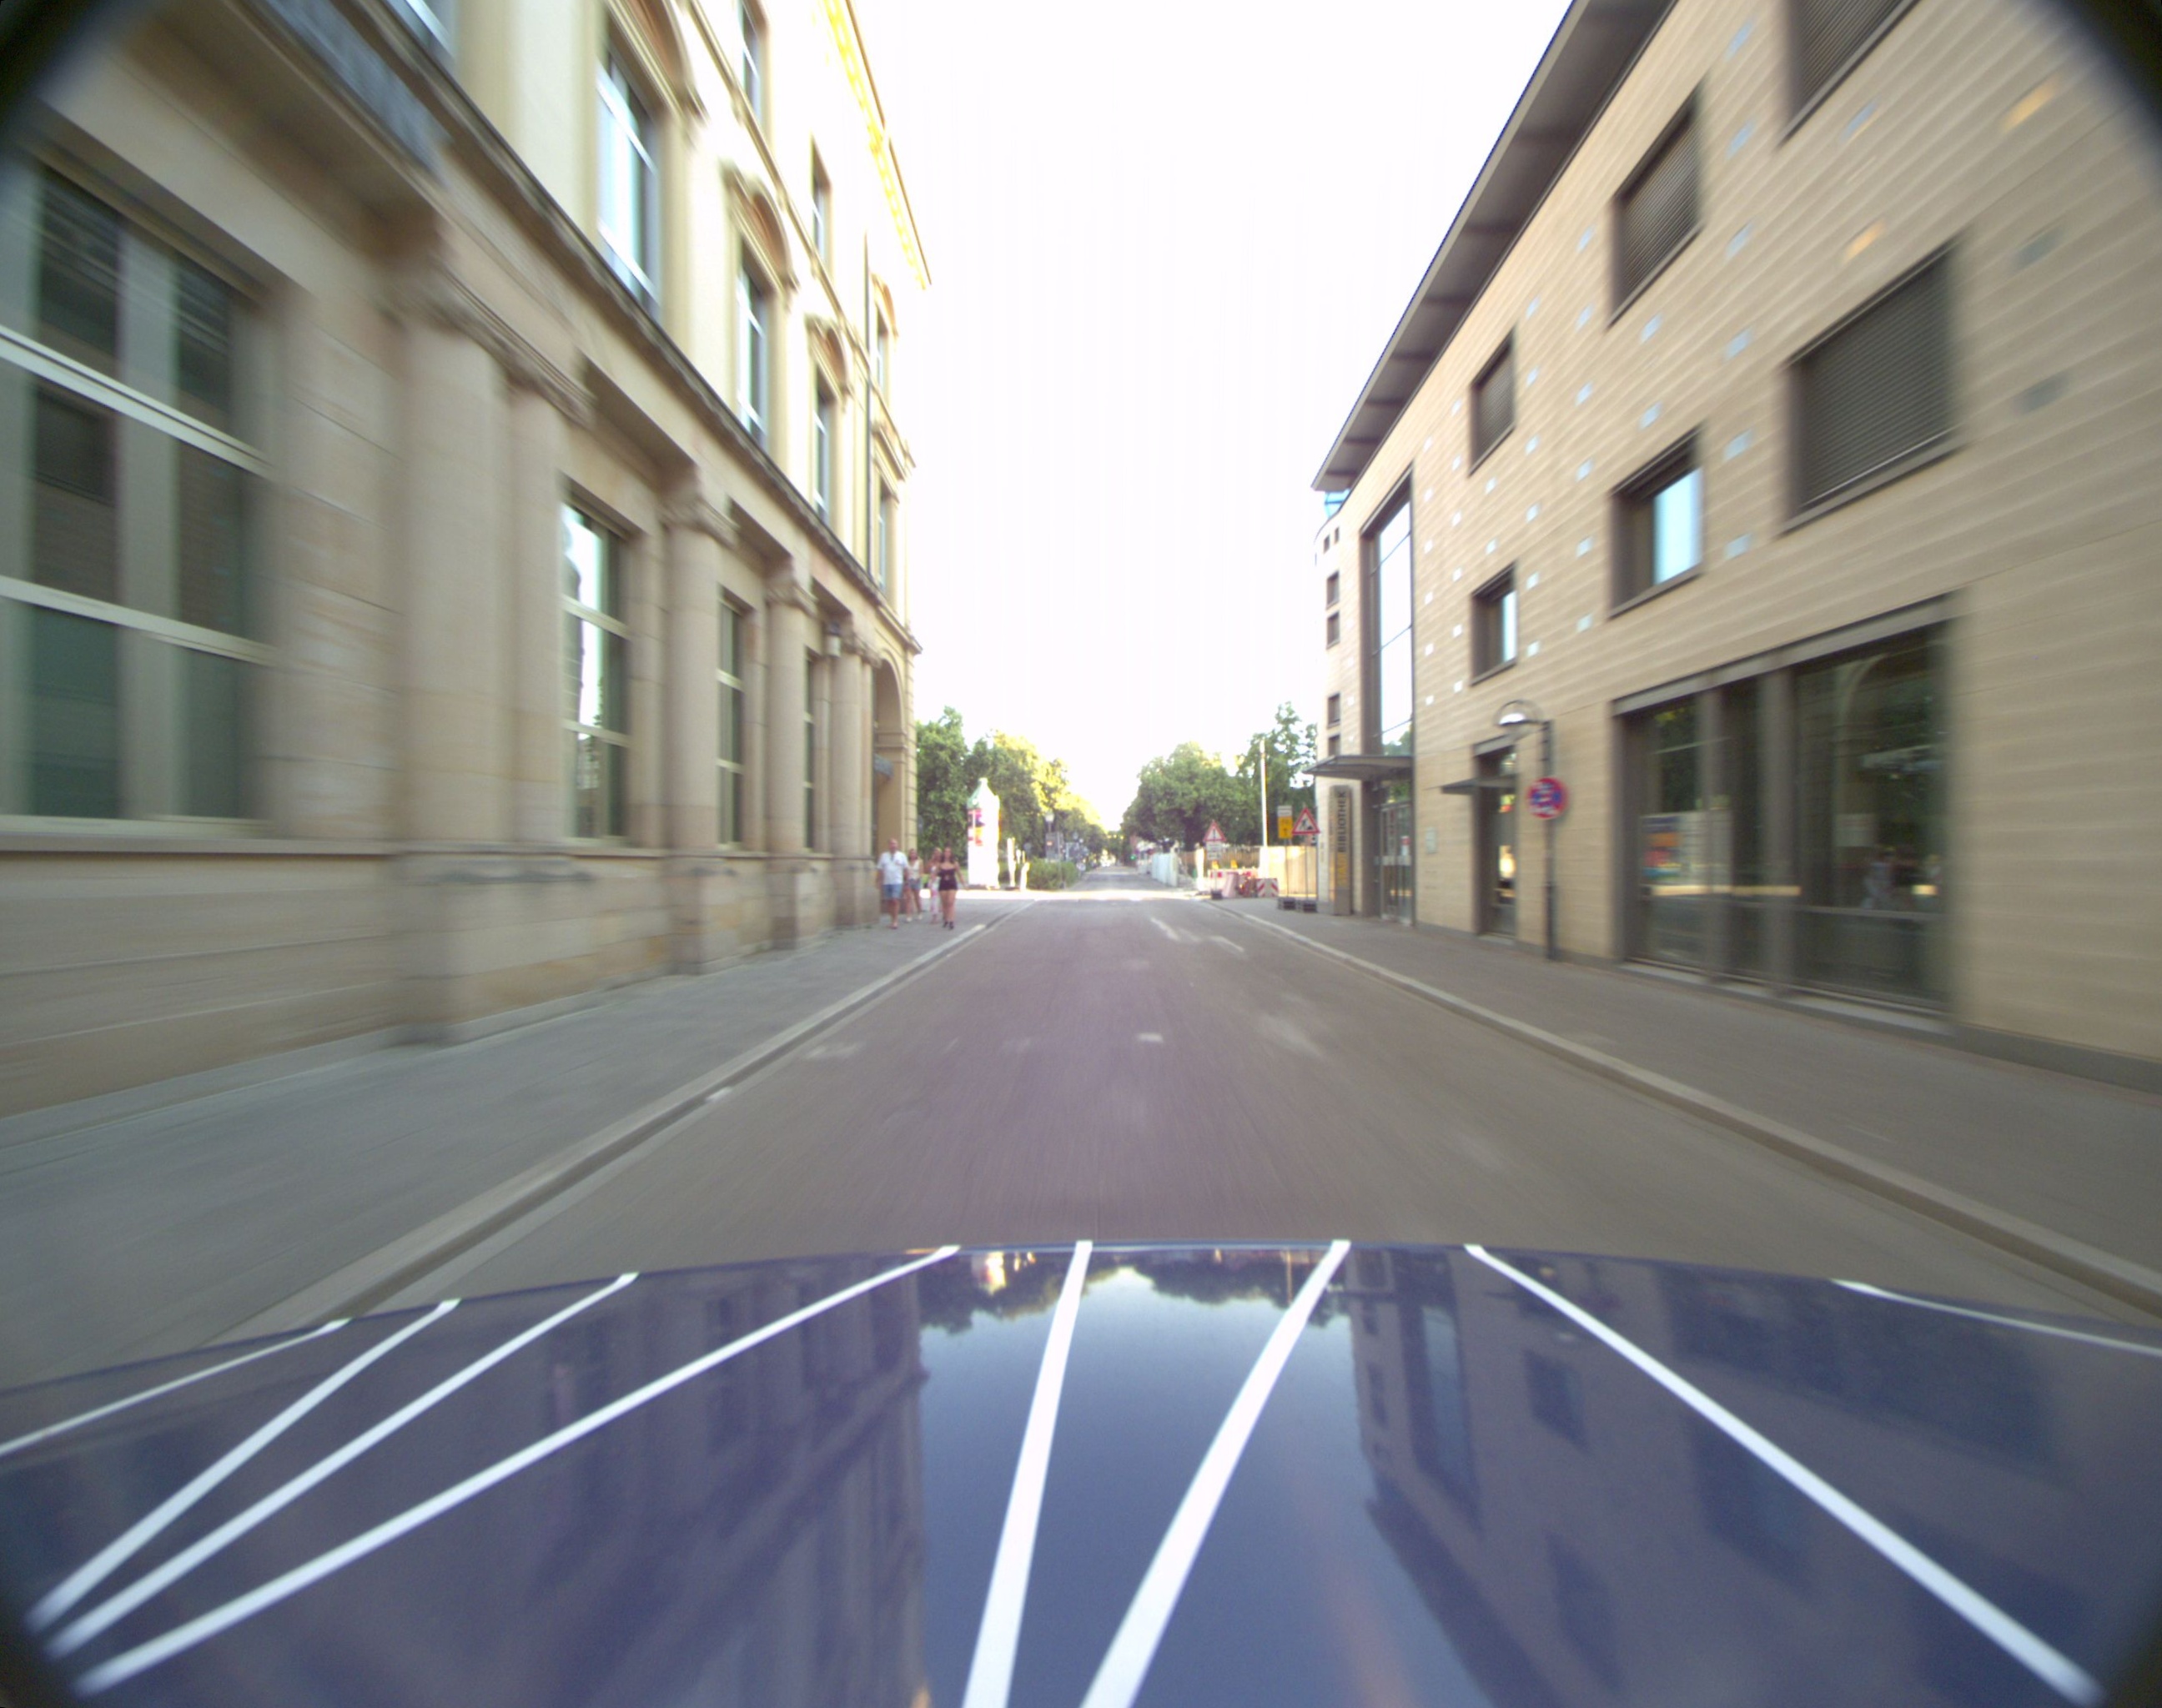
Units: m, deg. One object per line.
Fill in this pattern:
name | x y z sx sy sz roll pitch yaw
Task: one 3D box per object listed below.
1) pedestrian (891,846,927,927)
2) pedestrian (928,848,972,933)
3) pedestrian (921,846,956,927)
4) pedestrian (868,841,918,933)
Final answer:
pedestrian | -3.863 0.717 17.114 0.638 1.792 0.772 0 0 1
pedestrian | -2.752 0.748 16.030 0.777 1.736 0.875 0 0 1
pedestrian | -3.200 0.711 17.108 0.638 1.792 0.772 0 0 1
pedestrian | -3.894 0.676 15.814 0.814 1.864 0.875 0 0 1
